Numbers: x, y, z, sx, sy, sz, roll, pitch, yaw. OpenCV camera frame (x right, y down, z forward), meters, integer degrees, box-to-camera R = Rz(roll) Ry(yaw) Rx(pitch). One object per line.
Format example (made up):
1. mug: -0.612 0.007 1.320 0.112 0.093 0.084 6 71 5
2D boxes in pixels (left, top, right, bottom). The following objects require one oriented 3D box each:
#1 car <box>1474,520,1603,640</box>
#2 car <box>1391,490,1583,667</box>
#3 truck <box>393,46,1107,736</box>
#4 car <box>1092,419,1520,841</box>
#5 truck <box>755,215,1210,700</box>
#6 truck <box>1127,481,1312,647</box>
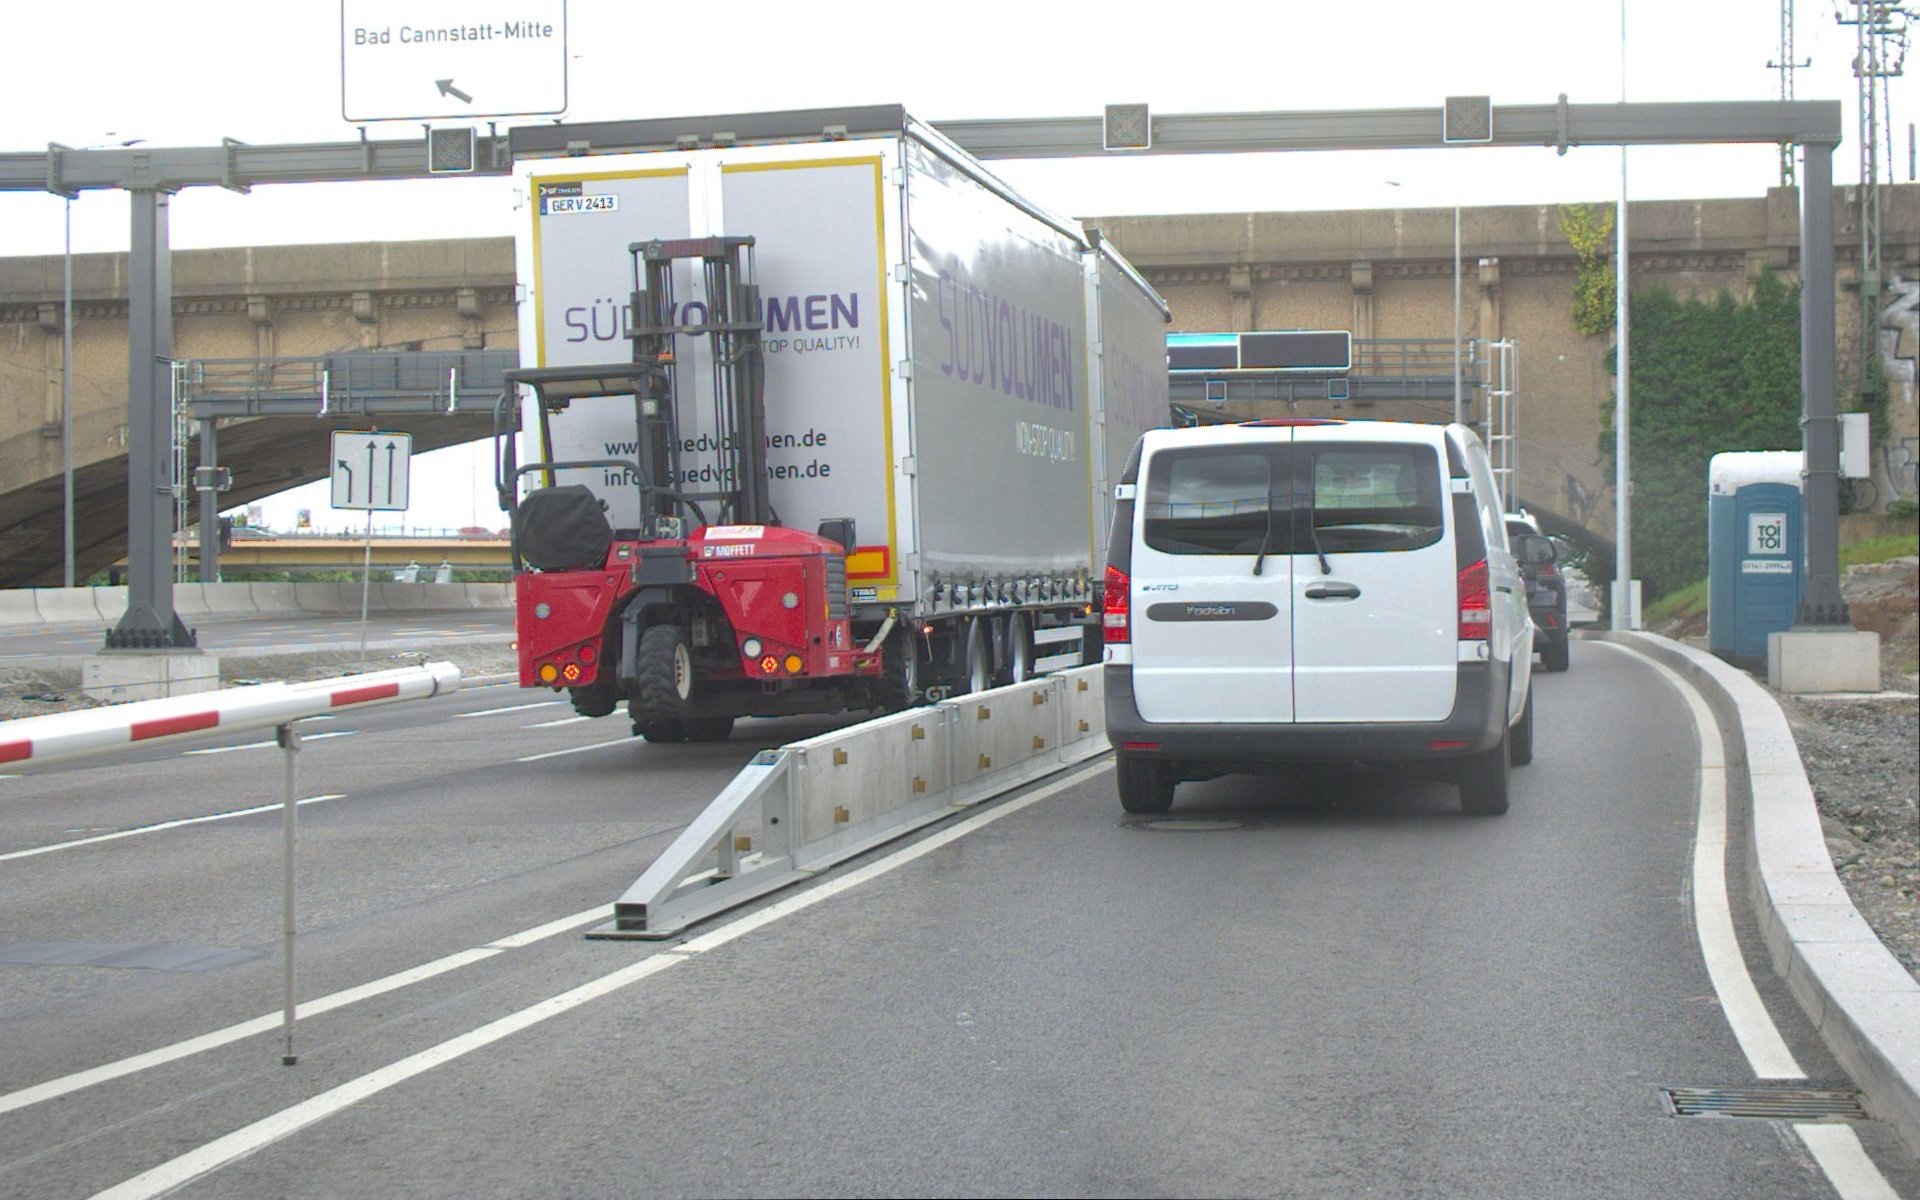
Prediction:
1. car: 7.703 -0.239 45.579 1.502 1.464 3.396 0 -2 13
2. car: 5.229 -0.215 33.945 1.750 1.620 3.843 -1 0 10
3. truck: -1.045 -1.188 25.234 2.919 4.003 10.196 1 0 10
4. car: 1.932 0.058 17.831 1.877 1.884 4.751 0 2 10
5. truck: 0.578 -1.273 35.263 2.988 4.162 11.236 1 0 9
6. truck: 6.897 -0.961 88.640 3.318 3.796 16.587 2 1 9
